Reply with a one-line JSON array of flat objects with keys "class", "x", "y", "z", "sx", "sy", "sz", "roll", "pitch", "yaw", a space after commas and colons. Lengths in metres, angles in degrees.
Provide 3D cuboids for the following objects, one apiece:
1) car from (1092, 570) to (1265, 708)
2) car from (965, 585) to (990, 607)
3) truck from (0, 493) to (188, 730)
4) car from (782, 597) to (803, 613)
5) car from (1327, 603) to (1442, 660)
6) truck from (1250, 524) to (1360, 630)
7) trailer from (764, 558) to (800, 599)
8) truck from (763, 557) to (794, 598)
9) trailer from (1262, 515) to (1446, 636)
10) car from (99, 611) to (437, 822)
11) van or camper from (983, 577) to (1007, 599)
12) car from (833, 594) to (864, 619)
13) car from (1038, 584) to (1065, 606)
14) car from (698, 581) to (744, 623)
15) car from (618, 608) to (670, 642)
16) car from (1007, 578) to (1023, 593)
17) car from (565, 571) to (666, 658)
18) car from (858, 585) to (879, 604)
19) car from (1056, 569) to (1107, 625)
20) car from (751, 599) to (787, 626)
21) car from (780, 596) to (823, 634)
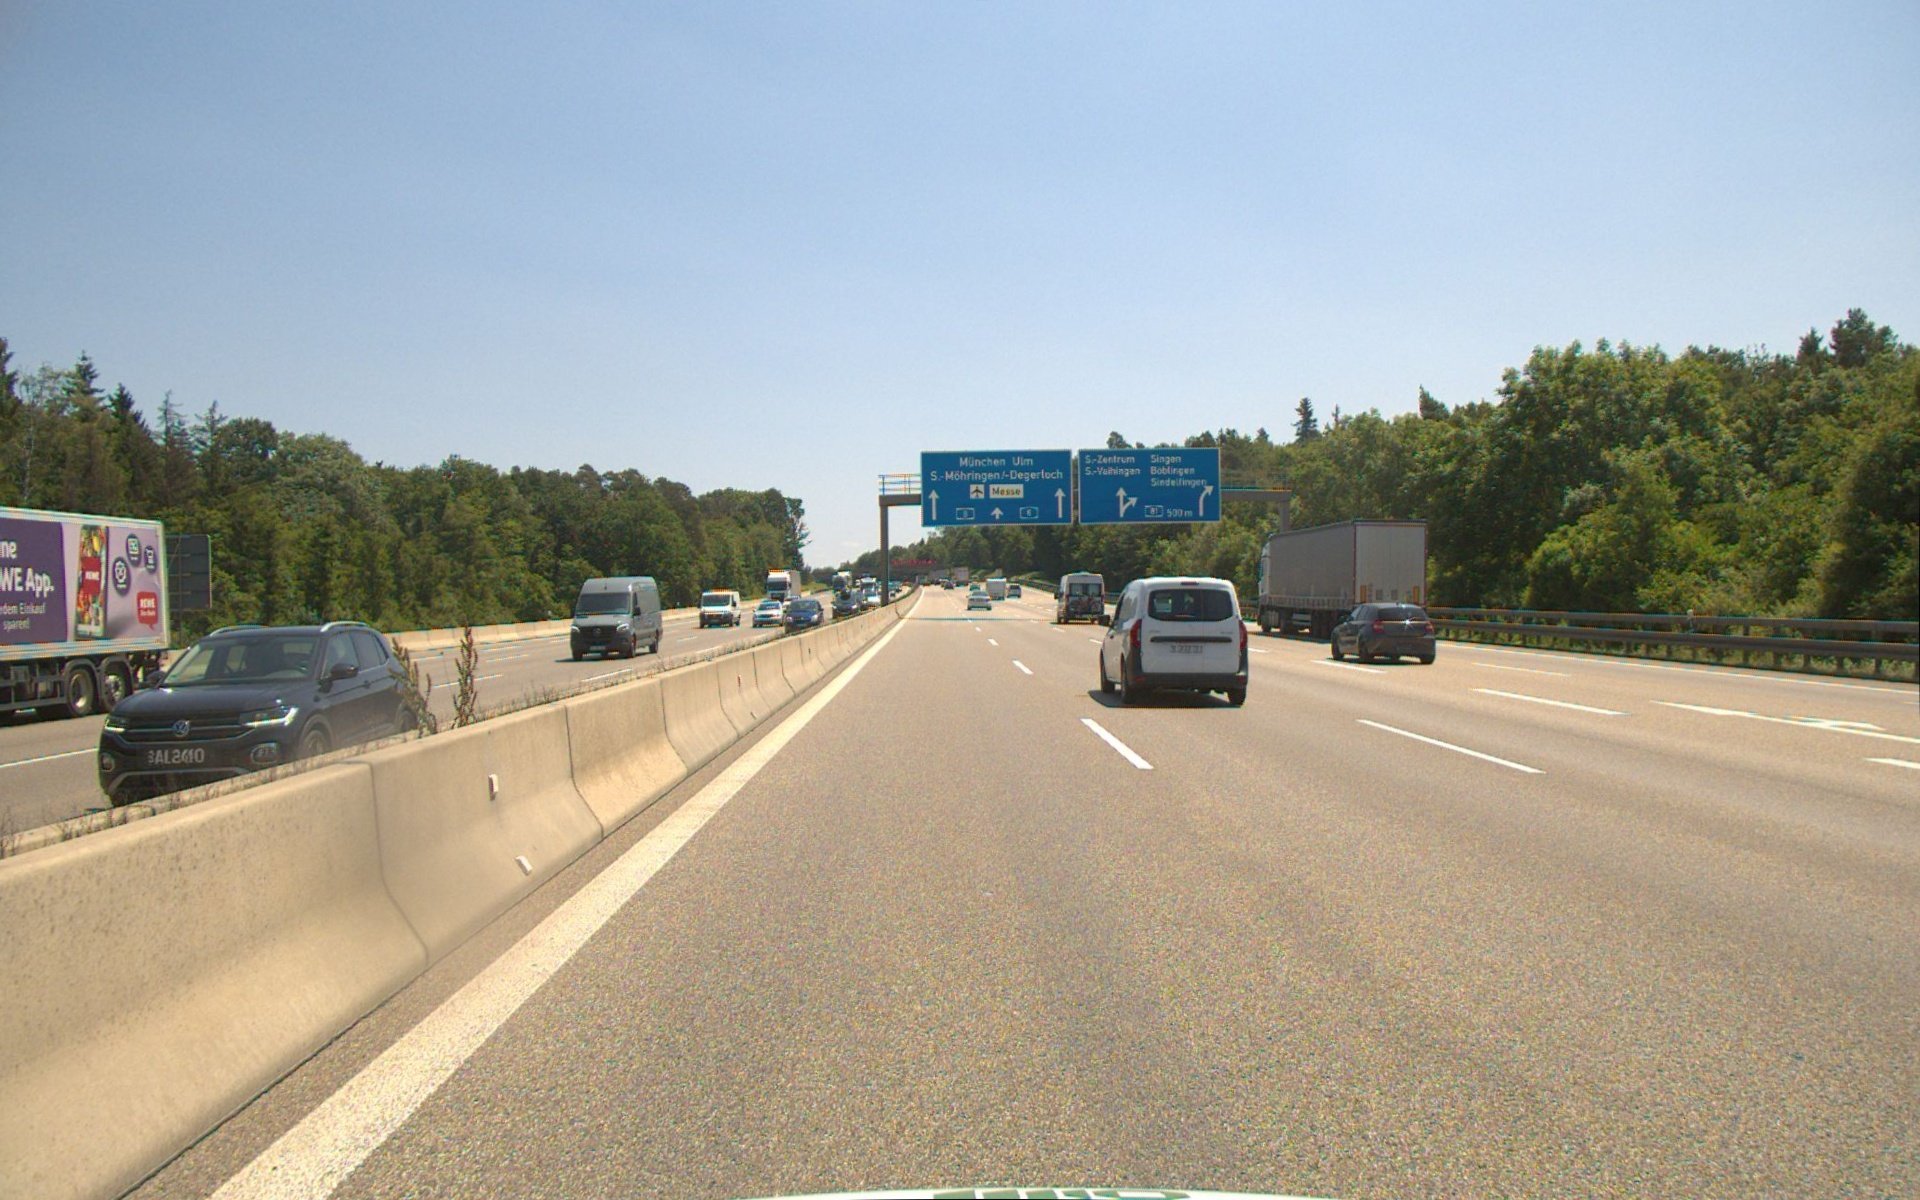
[{"class": "car", "x": 3.201, "y": 0.552, "z": 25.180, "sx": 1.822, "sy": 1.857, "sz": 4.610, "roll": -2, "pitch": 0, "yaw": -2}, {"class": "car", "x": 1.389, "y": -0.280, "z": 130.205, "sx": 1.806, "sy": 1.657, "sz": 4.552, "roll": -2, "pitch": 0, "yaw": -1}, {"class": "truck", "x": -17.622, "y": 0.245, "z": 29.817, "sx": 2.664, "sy": 4.008, "sz": 10.233, "roll": -2, "pitch": 0, "yaw": -1}, {"class": "car", "x": -16.364, "y": 0.501, "z": 161.231, "sx": 1.629, "sy": 1.480, "sz": 3.839, "roll": -3, "pitch": 0, "yaw": -1}, {"class": "car", "x": 10.211, "y": 0.723, "z": 40.076, "sx": 1.636, "sy": 1.296, "sz": 4.289, "roll": 0, "pitch": 0, "yaw": -1}, {"class": "truck", "x": 14.208, "y": -0.941, "z": 68.636, "sx": 3.188, "sy": 4.178, "sz": 5.986, "roll": 0, "pitch": 0, "yaw": -1}, {"class": "trailer", "x": -20.114, "y": -2.387, "z": 187.923, "sx": 2.699, "sy": 4.320, "sz": 13.715, "roll": -2, "pitch": 0, "yaw": -1}, {"class": "truck", "x": -20.034, "y": -2.461, "z": 182.864, "sx": 2.704, "sy": 4.294, "sz": 6.376, "roll": -2, "pitch": -1, "yaw": -1}, {"class": "trailer", "x": 14.323, "y": -0.887, "z": 61.722, "sx": 3.221, "sy": 3.999, "sz": 13.887, "roll": 0, "pitch": 1, "yaw": -1}, {"class": "car", "x": -6.388, "y": 0.985, "z": 15.744, "sx": 1.581, "sy": 1.691, "sz": 3.849, "roll": -1, "pitch": 0, "yaw": 0}, {"class": "van or camper", "x": 4.134, "y": -1.401, "z": 197.489, "sx": 2.591, "sy": 2.583, "sz": 6.500, "roll": -1, "pitch": 0, "yaw": -1}, {"class": "car", "x": -7.839, "y": 0.455, "z": 116.327, "sx": 1.832, "sy": 1.634, "sz": 5.227, "roll": -2, "pitch": 0, "yaw": -1}, {"class": "car", "x": 7.192, "y": -0.375, "z": 130.213, "sx": 1.781, "sy": 1.668, "sz": 3.999, "roll": -2, "pitch": 0, "yaw": -1}, {"class": "car", "x": -14.969, "y": 0.147, "z": 103.862, "sx": 1.891, "sy": 2.455, "sz": 6.624, "roll": -3, "pitch": 0, "yaw": -1}, {"class": "car", "x": -14.670, "y": 1.151, "z": 76.915, "sx": 1.644, "sy": 1.469, "sz": 4.021, "roll": -2, "pitch": 0, "yaw": -1}, {"class": "car", "x": 7.246, "y": -1.869, "z": 217.857, "sx": 1.783, "sy": 1.892, "sz": 3.999, "roll": -1, "pitch": 1, "yaw": -1}, {"class": "car", "x": -11.438, "y": 0.426, "z": 55.439, "sx": 1.891, "sy": 2.652, "sz": 7.229, "roll": -2, "pitch": 1, "yaw": -1}, {"class": "car", "x": -8.731, "y": -0.528, "z": 158.489, "sx": 1.776, "sy": 1.702, "sz": 4.475, "roll": -2, "pitch": 0, "yaw": -1}, {"class": "car", "x": 6.225, "y": -0.155, "z": 85.243, "sx": 2.100, "sy": 2.698, "sz": 5.708, "roll": -1, "pitch": 0, "yaw": -1}, {"class": "car", "x": -11.305, "y": 0.735, "z": 98.001, "sx": 1.644, "sy": 1.469, "sz": 4.525, "roll": -2, "pitch": 0, "yaw": -1}, {"class": "car", "x": -7.403, "y": 0.693, "z": 77.715, "sx": 1.670, "sy": 1.691, "sz": 3.759, "roll": -1, "pitch": 0, "yaw": -1}]
